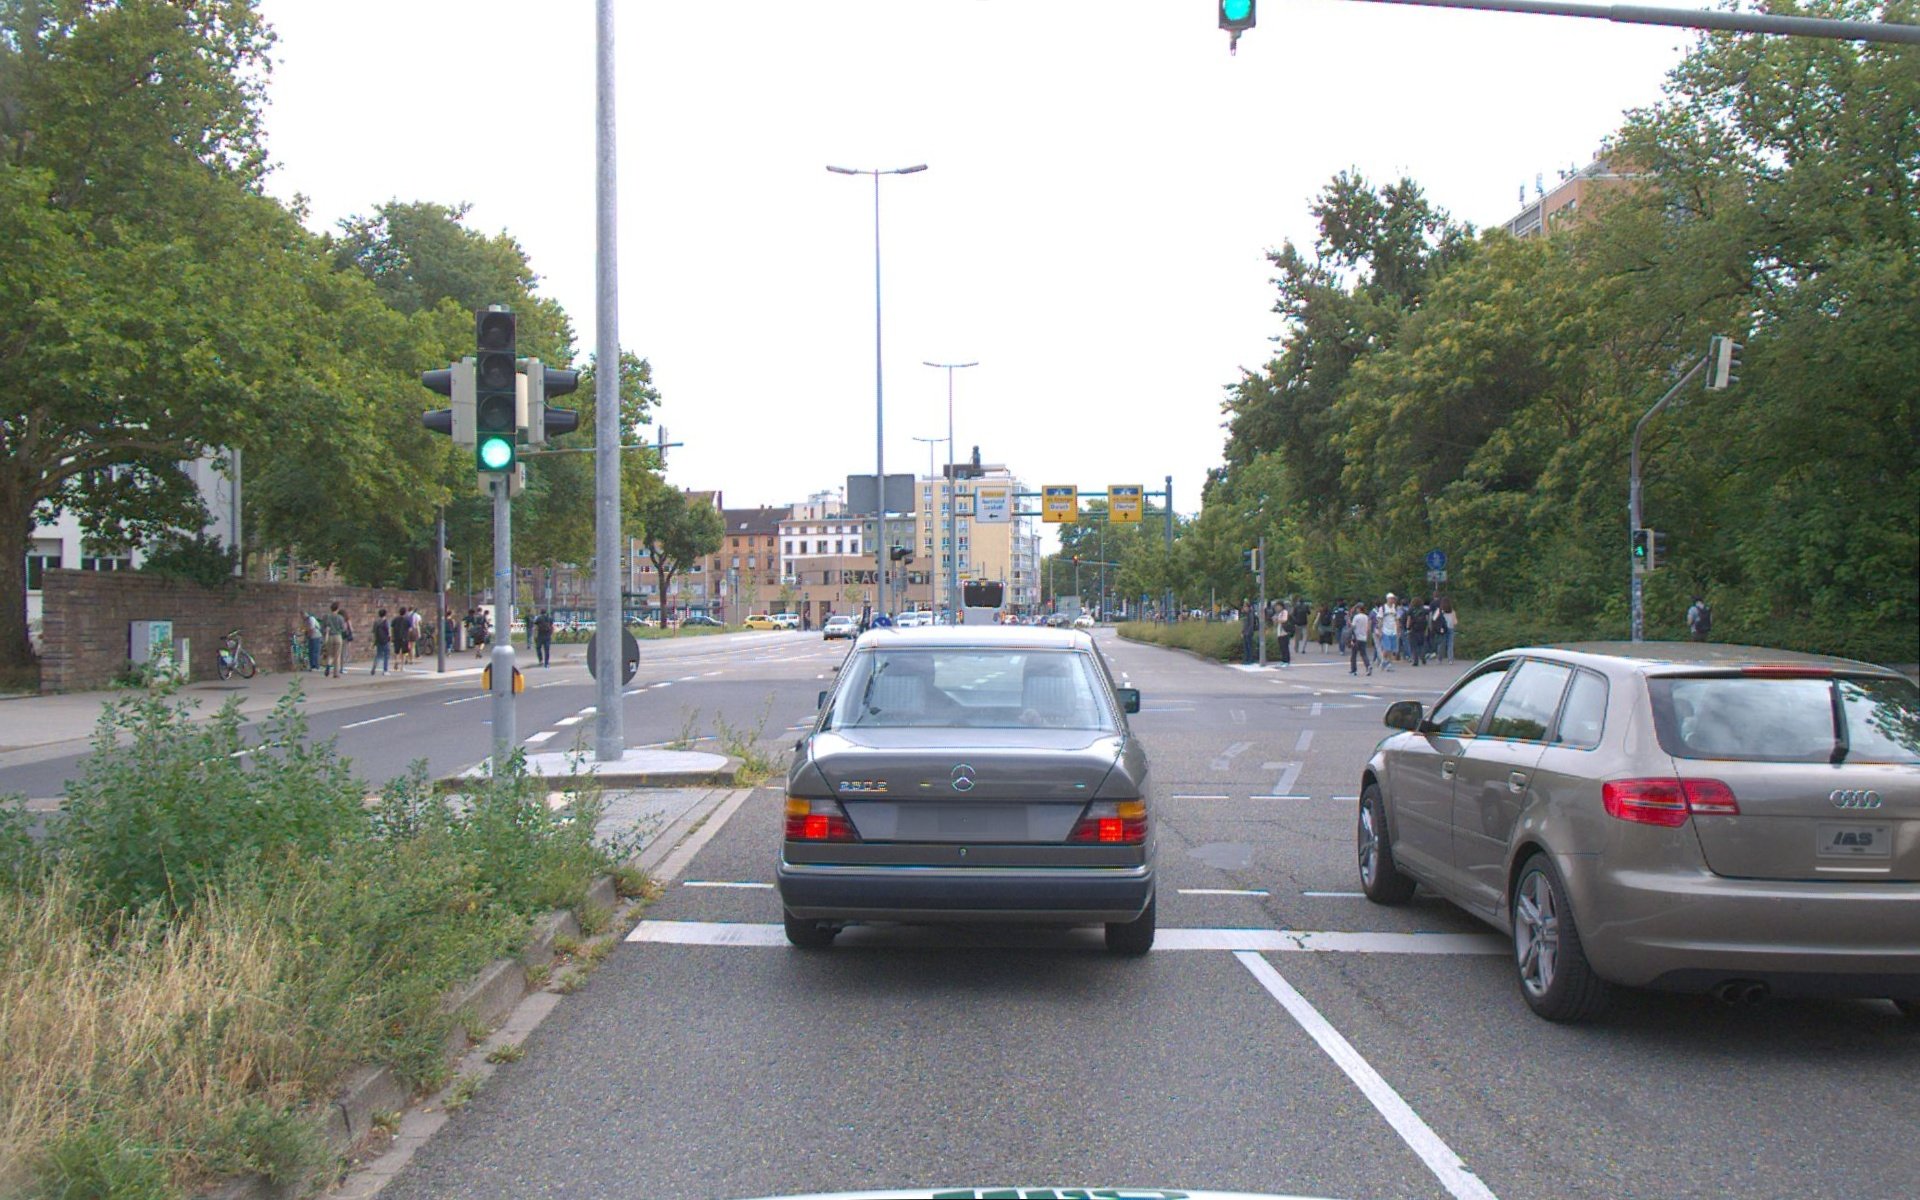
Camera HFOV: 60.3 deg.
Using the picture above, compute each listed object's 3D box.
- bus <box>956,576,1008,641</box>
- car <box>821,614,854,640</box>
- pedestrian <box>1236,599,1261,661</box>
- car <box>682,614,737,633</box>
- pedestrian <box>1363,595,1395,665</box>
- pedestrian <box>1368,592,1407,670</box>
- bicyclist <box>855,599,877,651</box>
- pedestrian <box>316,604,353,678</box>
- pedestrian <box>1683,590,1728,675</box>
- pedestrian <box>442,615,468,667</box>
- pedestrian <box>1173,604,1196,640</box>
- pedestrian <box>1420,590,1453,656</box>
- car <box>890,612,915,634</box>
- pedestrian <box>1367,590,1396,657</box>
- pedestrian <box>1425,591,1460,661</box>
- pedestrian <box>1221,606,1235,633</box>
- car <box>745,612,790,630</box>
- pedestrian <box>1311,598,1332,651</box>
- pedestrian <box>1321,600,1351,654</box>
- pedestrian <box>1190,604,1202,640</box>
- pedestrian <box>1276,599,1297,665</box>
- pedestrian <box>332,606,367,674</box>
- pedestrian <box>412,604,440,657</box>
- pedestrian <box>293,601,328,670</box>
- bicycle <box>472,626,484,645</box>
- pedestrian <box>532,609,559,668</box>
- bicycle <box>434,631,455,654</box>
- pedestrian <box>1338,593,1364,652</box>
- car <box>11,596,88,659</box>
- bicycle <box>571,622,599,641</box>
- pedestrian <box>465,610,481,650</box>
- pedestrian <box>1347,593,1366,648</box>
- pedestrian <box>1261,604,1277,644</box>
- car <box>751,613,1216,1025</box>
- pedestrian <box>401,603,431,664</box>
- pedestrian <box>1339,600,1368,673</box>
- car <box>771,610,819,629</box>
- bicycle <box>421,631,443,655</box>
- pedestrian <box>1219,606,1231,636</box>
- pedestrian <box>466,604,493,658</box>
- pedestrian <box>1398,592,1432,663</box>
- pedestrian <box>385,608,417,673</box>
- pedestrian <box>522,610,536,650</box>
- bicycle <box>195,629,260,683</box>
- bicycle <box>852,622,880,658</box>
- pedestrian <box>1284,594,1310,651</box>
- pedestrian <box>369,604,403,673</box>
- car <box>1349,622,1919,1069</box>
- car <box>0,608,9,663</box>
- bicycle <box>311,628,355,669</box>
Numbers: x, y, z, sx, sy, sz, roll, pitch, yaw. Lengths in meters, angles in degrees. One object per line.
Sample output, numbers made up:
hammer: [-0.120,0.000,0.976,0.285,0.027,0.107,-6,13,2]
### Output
bus: [1.250,0.487,93.371,2.773,3.450,8.183,0,0,1]
car: [-7.601,1.657,102.863,1.725,1.515,4.545,0,0,0]
pedestrian: [8.221,0.852,47.167,0.589,1.765,0.654,0,-1,0]
car: [-22.008,2.054,145.352,4.575,1.502,1.659,1,-2,-3]
pedestrian: [10.754,0.770,42.432,0.611,1.776,0.780,-1,-1,0]
pedestrian: [10.428,0.759,40.361,0.633,1.885,0.827,1,-1,-12]
bicyclist: [-2.915,0.781,51.203,0.560,1.601,0.700,0,-1,6]
pedestrian: [-15.404,1.016,40.749,0.737,1.814,0.776,1,-3,-30]
pedestrian: [16.207,0.708,35.953,0.631,1.827,0.740,0,-1,0]
pedestrian: [-17.880,1.455,58.563,0.749,1.814,0.777,1,-2,-26]
pedestrian: [11.908,1.166,87.705,0.916,1.862,0.885,-1,-1,30]
pedestrian: [12.984,0.627,45.102,0.643,1.776,0.780,-1,-1,0]
car: [-4.074,1.624,118.033,1.765,1.515,4.287,0,0,-2]
pedestrian: [11.321,0.627,44.469,0.569,1.776,0.790,-1,-1,1]
pedestrian: [12.349,0.656,42.319,0.643,1.776,0.780,-1,-1,0]
pedestrian: [15.284,1.100,94.353,0.644,1.496,0.561,0,-1,-1]
car: [-16.960,1.881,145.886,3.779,1.544,1.659,1,-1,-3]
pedestrian: [11.632,0.779,53.219,0.544,1.684,0.754,-1,-1,3]
pedestrian: [11.664,0.834,51.376,0.759,1.630,0.812,-1,-1,3]
pedestrian: [13.611,1.254,95.393,0.601,2.049,0.597,0,-1,1]
pedestrian: [8.794,0.866,44.551,0.444,1.765,0.637,0,-1,0]
pedestrian: [-16.289,1.073,44.124,0.750,1.814,0.776,1,-3,-29]
pedestrian: [-17.453,0.986,54.048,0.749,1.700,0.916,0,-1,-26]
pedestrian: [-17.345,0.950,44.160,0.737,1.814,0.775,1,-3,-32]
bicycle: [-21.187,1.561,72.753,0.433,0.842,1.614,2,-1,-15]
pedestrian: [-12.820,1.199,51.174,0.748,1.814,0.717,0,-2,-21]
bicycle: [-19.469,1.602,62.517,0.432,0.811,1.618,2,0,-7]
pedestrian: [12.441,0.715,52.674,0.642,1.853,0.812,-1,-1,3]
car: [-30.805,0.919,55.924,1.767,2.049,3.947,0,-1,-37]
bicycle: [-18.902,1.577,83.401,0.460,0.935,2.341,-1,-1,10]
pedestrian: [-20.148,1.252,68.417,0.577,1.620,0.731,0,-2,-20]
pedestrian: [13.172,0.671,54.947,0.474,1.794,0.664,-1,-1,3]
pedestrian: [13.480,1.037,72.166,0.575,1.712,0.748,-1,-1,3]
car: [0.055,0.829,8.256,1.725,1.515,4.170,0,0,-1]
pedestrian: [-16.480,1.021,50.084,0.749,1.814,0.907,1,-2,-26]
pedestrian: [9.368,0.874,39.388,0.534,1.716,0.637,0,-1,0]
car: [-15.087,1.800,151.025,4.087,1.678,1.639,-1,-1,-17]
bicycle: [-19.218,1.547,60.268,0.432,0.811,1.618,2,0,-7]
pedestrian: [15.690,1.234,97.947,0.633,1.743,0.562,-1,-1,17]
pedestrian: [-16.336,1.071,56.206,0.749,1.814,0.916,1,-2,-26]
pedestrian: [11.648,0.697,42.343,0.643,1.776,0.780,-1,-1,0]
pedestrian: [-15.631,1.138,46.219,0.749,1.814,0.777,1,-2,-26]
pedestrian: [-18.263,1.283,70.092,0.550,1.697,0.624,0,-2,-14]
bicycle: [-16.897,1.279,38.209,0.566,1.145,2.164,2,0,-2]
bicycle: [-2.912,1.229,51.282,0.561,1.074,1.927,0,0,6]
pedestrian: [11.044,0.742,54.163,0.678,1.853,0.954,-1,-1,3]
pedestrian: [-15.251,1.020,43.957,0.750,1.814,0.777,1,-2,-27]
car: [3.055,0.862,7.520,1.689,1.483,3.735,0,0,0]
car: [-33.021,1.186,55.032,1.891,1.782,3.946,0,-1,-37]
bicycle: [-17.637,1.358,46.557,0.538,1.077,1.979,2,0,-4]
